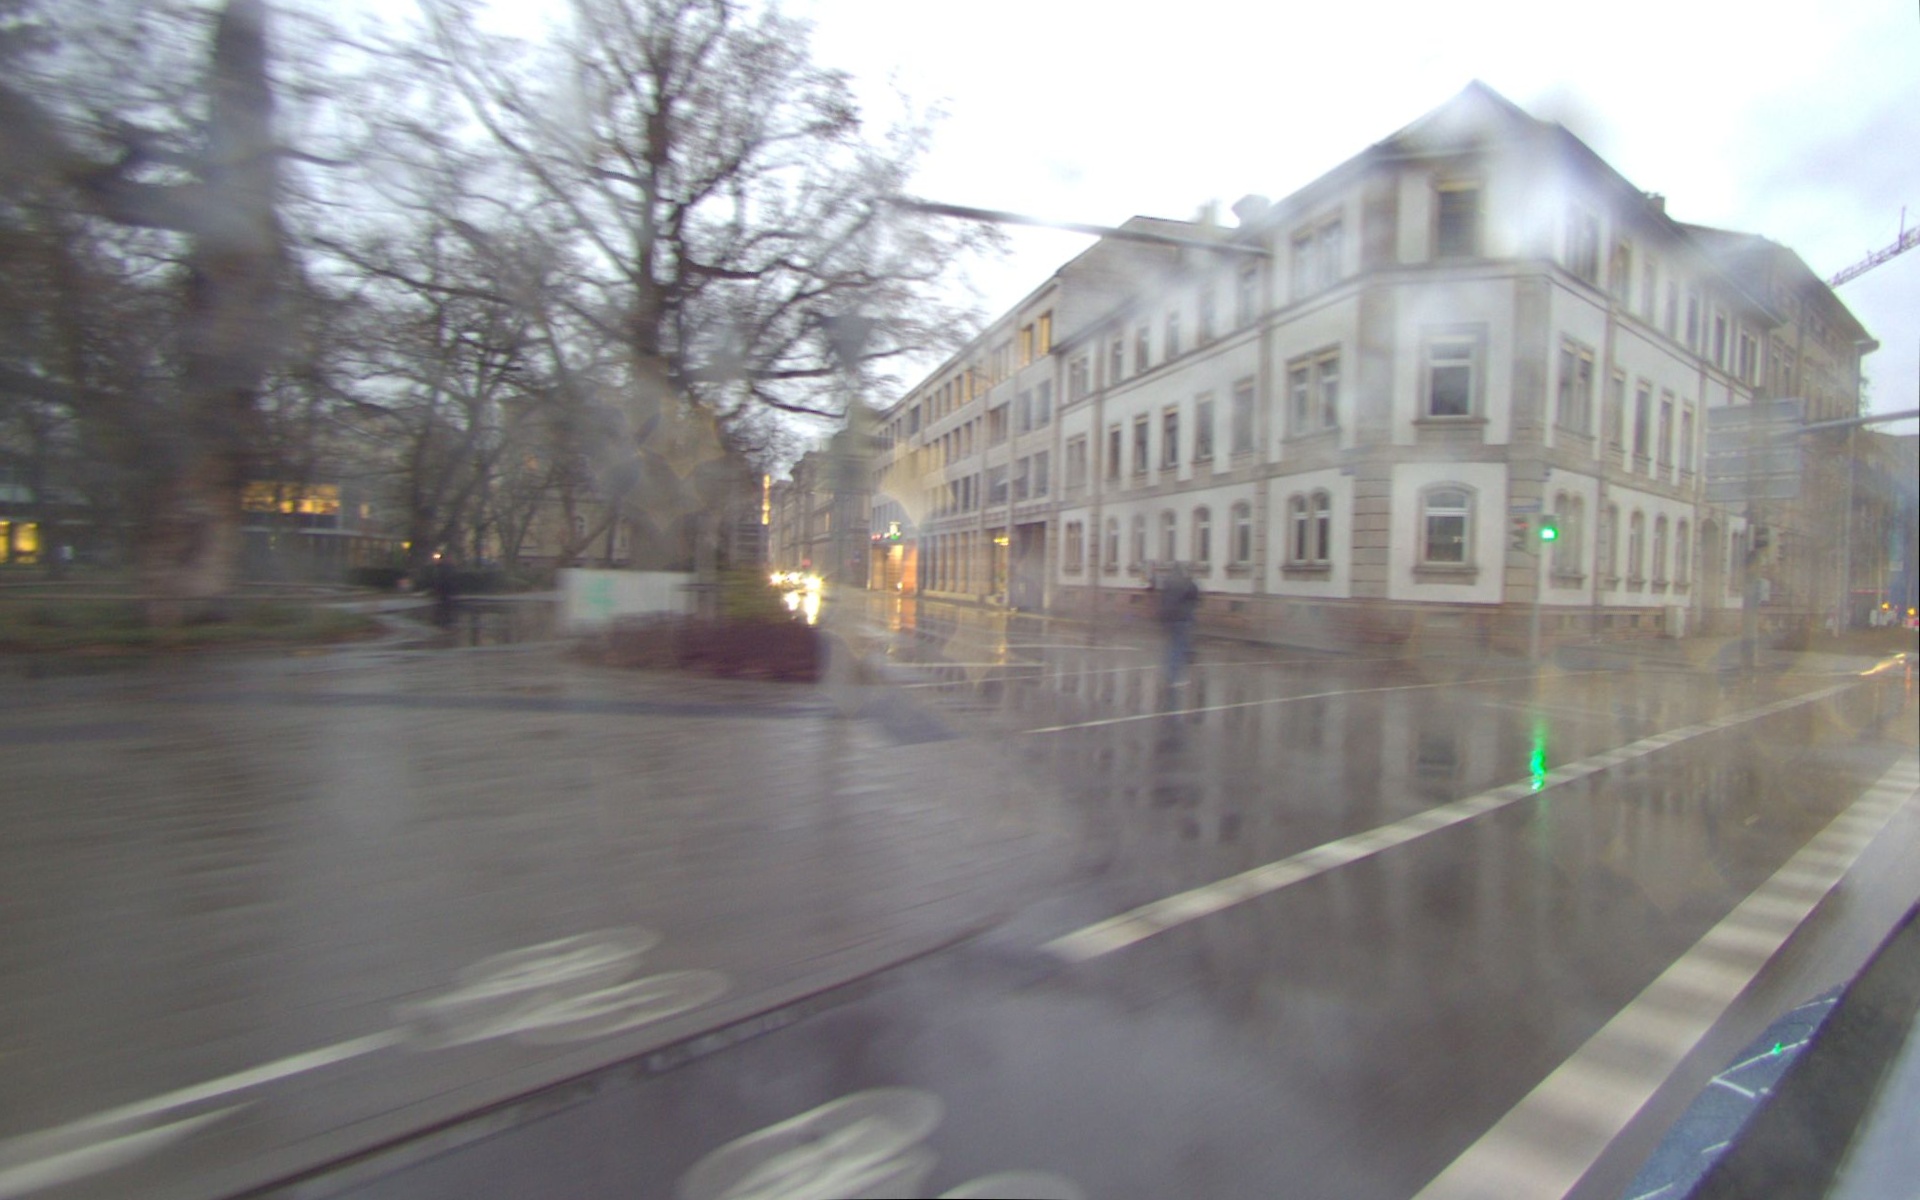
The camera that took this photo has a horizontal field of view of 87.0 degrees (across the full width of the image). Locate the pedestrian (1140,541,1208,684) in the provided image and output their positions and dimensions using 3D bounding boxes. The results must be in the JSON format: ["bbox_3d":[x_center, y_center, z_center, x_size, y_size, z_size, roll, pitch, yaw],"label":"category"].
[{"bbox_3d":[2.926,0.164,13.866,0.661,1.903,0.716,0,0,-13],"label":"pedestrian"}]

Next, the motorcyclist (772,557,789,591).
[{"bbox_3d":[-11.509,-1.669,65.004,0.928,2.194,1.198,0,0,-17],"label":"motorcyclist"}]

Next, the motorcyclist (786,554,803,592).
[{"bbox_3d":[-9.356,-1.524,57.155,0.929,2.079,1.032,0,0,-9],"label":"motorcyclist"}]

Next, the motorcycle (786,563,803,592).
[{"bbox_3d":[-9.342,-1.261,57.084,0.929,1.579,3.531,0,1,-9],"label":"motorcycle"}]

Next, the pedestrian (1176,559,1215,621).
[{"bbox_3d":[7.765,-0.327,33.429,0.849,2.006,0.980,0,0,-18],"label":"pedestrian"}]

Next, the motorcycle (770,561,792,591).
[{"bbox_3d":[-11.509,-1.503,64.996,0.928,1.867,3.533,0,1,-17],"label":"motorcycle"}]

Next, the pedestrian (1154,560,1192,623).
[{"bbox_3d":[6.938,-0.273,32.997,0.849,2.006,0.980,0,0,-18],"label":"pedestrian"}]

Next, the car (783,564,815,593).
[{"bbox_3d":[-11.685,-1.536,73.469,1.958,2.039,4.008,0,1,-14],"label":"car"}]

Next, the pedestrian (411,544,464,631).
[{"bbox_3d":[-10.251,-0.240,19.894,0.834,1.661,0.727,0,0,-20],"label":"pedestrian"}]

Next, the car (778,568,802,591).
[{"bbox_3d":[-15.498,-1.814,91.977,1.958,2.039,4.008,0,1,-13],"label":"car"}]
